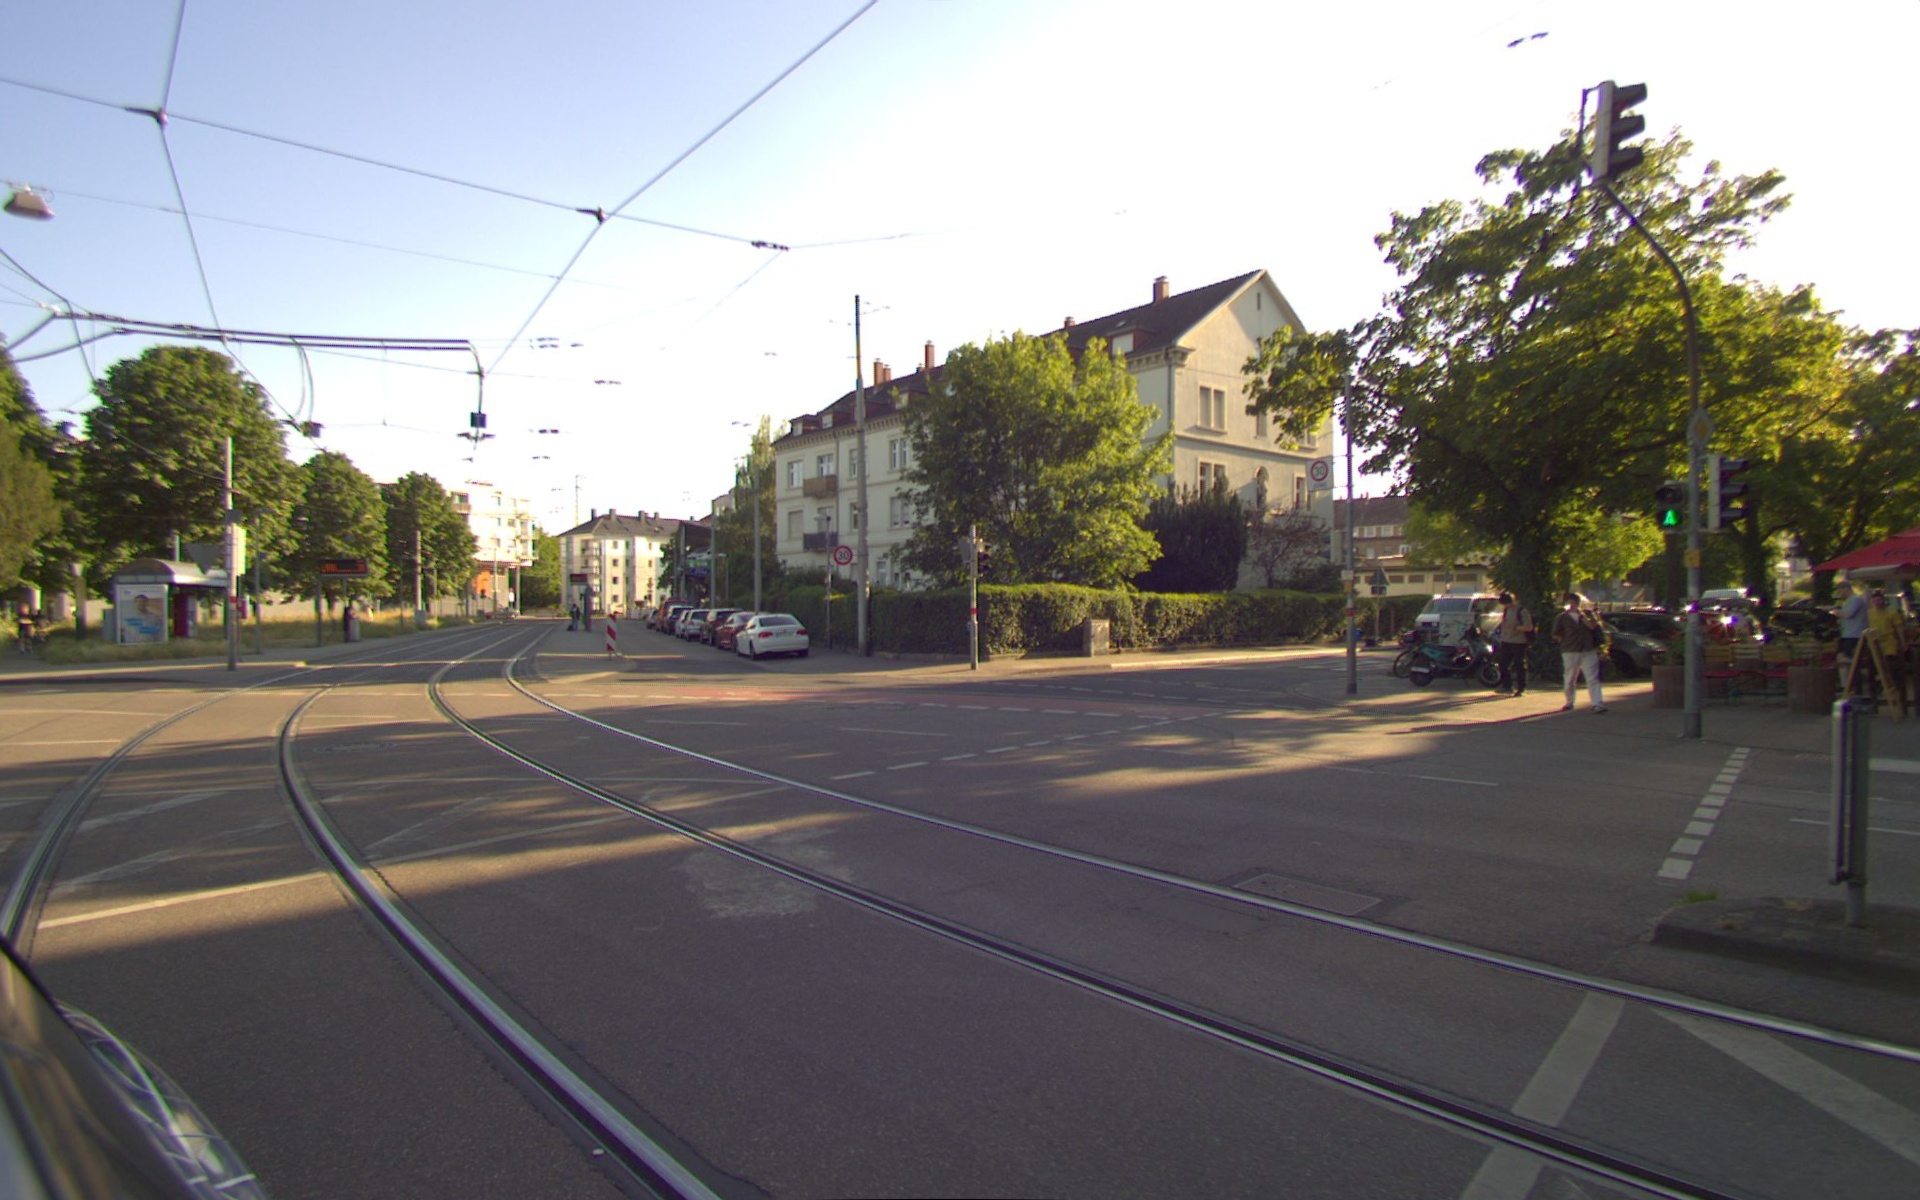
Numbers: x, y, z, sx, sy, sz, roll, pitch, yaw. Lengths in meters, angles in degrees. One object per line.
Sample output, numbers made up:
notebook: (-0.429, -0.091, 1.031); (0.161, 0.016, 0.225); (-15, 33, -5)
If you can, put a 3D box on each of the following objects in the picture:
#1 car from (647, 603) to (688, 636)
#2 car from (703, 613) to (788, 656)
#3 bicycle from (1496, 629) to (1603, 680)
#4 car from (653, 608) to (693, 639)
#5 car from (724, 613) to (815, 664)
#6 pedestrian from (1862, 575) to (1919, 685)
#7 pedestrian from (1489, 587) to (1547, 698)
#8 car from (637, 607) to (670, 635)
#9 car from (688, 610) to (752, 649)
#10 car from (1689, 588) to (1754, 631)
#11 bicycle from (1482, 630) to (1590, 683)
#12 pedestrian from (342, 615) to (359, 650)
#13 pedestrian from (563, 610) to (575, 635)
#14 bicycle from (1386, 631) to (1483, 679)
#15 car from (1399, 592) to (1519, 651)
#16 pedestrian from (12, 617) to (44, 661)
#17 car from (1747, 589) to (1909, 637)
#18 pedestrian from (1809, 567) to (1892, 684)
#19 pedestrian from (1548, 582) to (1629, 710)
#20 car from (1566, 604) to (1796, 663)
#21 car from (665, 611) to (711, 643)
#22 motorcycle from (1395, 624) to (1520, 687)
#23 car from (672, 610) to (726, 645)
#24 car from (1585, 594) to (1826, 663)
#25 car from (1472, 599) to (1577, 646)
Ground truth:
car: (-18.751, 1.220, 64.705); (2.021, 1.976, 5.168); (-2, 0, -21)
car: (-7.958, 1.220, 37.204); (1.953, 1.387, 4.721); (-3, 1, -26)
bicycle: (11.596, 1.049, 19.963); (0.553, 0.939, 1.732); (0, -1, -41)
car: (-16.655, 1.330, 58.573); (1.813, 1.680, 4.384); (-2, 0, -21)
car: (-6.159, 1.172, 32.294); (1.897, 1.387, 4.512); (-2, 1, -23)
pedestrian: (15.819, 0.493, 16.947); (0.898, 1.785, 0.816); (0, -1, -31)
pedestrian: (9.187, 0.681, 16.656); (0.792, 1.764, 0.686); (-1, -1, 31)
car: (-23.704, 1.574, 78.198); (2.021, 1.976, 5.168); (-2, 0, -21)
car: (-10.211, 1.207, 42.829); (1.953, 1.458, 4.721); (-2, 1, -21)
car: (46.368, 0.576, 61.598); (5.230, 2.533, 2.364); (0, -1, -44)
bicycle: (11.071, 1.072, 19.495); (0.553, 0.939, 1.732); (0, -1, -41)
pedestrian: (-25.441, 1.354, 42.249); (0.587, 1.438, 0.507); (0, -1, -28)
pedestrian: (-23.312, 1.334, 60.370); (0.559, 1.512, 0.680); (0, -1, -9)
bicycle: (10.047, 1.143, 21.472); (0.662, 0.939, 1.732); (0, -1, -41)
car: (18.631, 0.755, 37.684); (5.230, 2.029, 2.364); (0, -1, -44)
pedestrian: (-31.881, 1.321, 34.615); (0.848, 1.504, 0.663); (-1, -1, 36)
car: (37.571, 0.572, 43.902); (2.327, 1.938, 5.112); (3, -2, -43)
pedestrian: (14.087, 0.401, 16.038); (0.912, 1.785, 0.804); (-1, -1, 38)
pedestrian: (8.940, 0.643, 14.421); (0.685, 1.764, 0.838); (0, 0, 9)
car: (20.829, 0.942, 29.418); (2.327, 1.569, 5.112); (3, -2, -43)
car: (-13.821, 1.324, 51.324); (1.813, 1.458, 3.972); (-2, 0, -21)
motorcycle: (9.404, 1.024, 19.177); (1.959, 1.118, 0.825); (-1, -1, 44)
car: (-12.160, 1.253, 46.999); (1.953, 1.458, 3.731); (-2, 0, -21)
car: (22.752, 0.854, 31.095); (2.327, 1.938, 5.644); (3, -2, -43)
car: (23.284, 0.871, 41.647); (5.230, 1.808, 2.364); (0, -1, -44)
